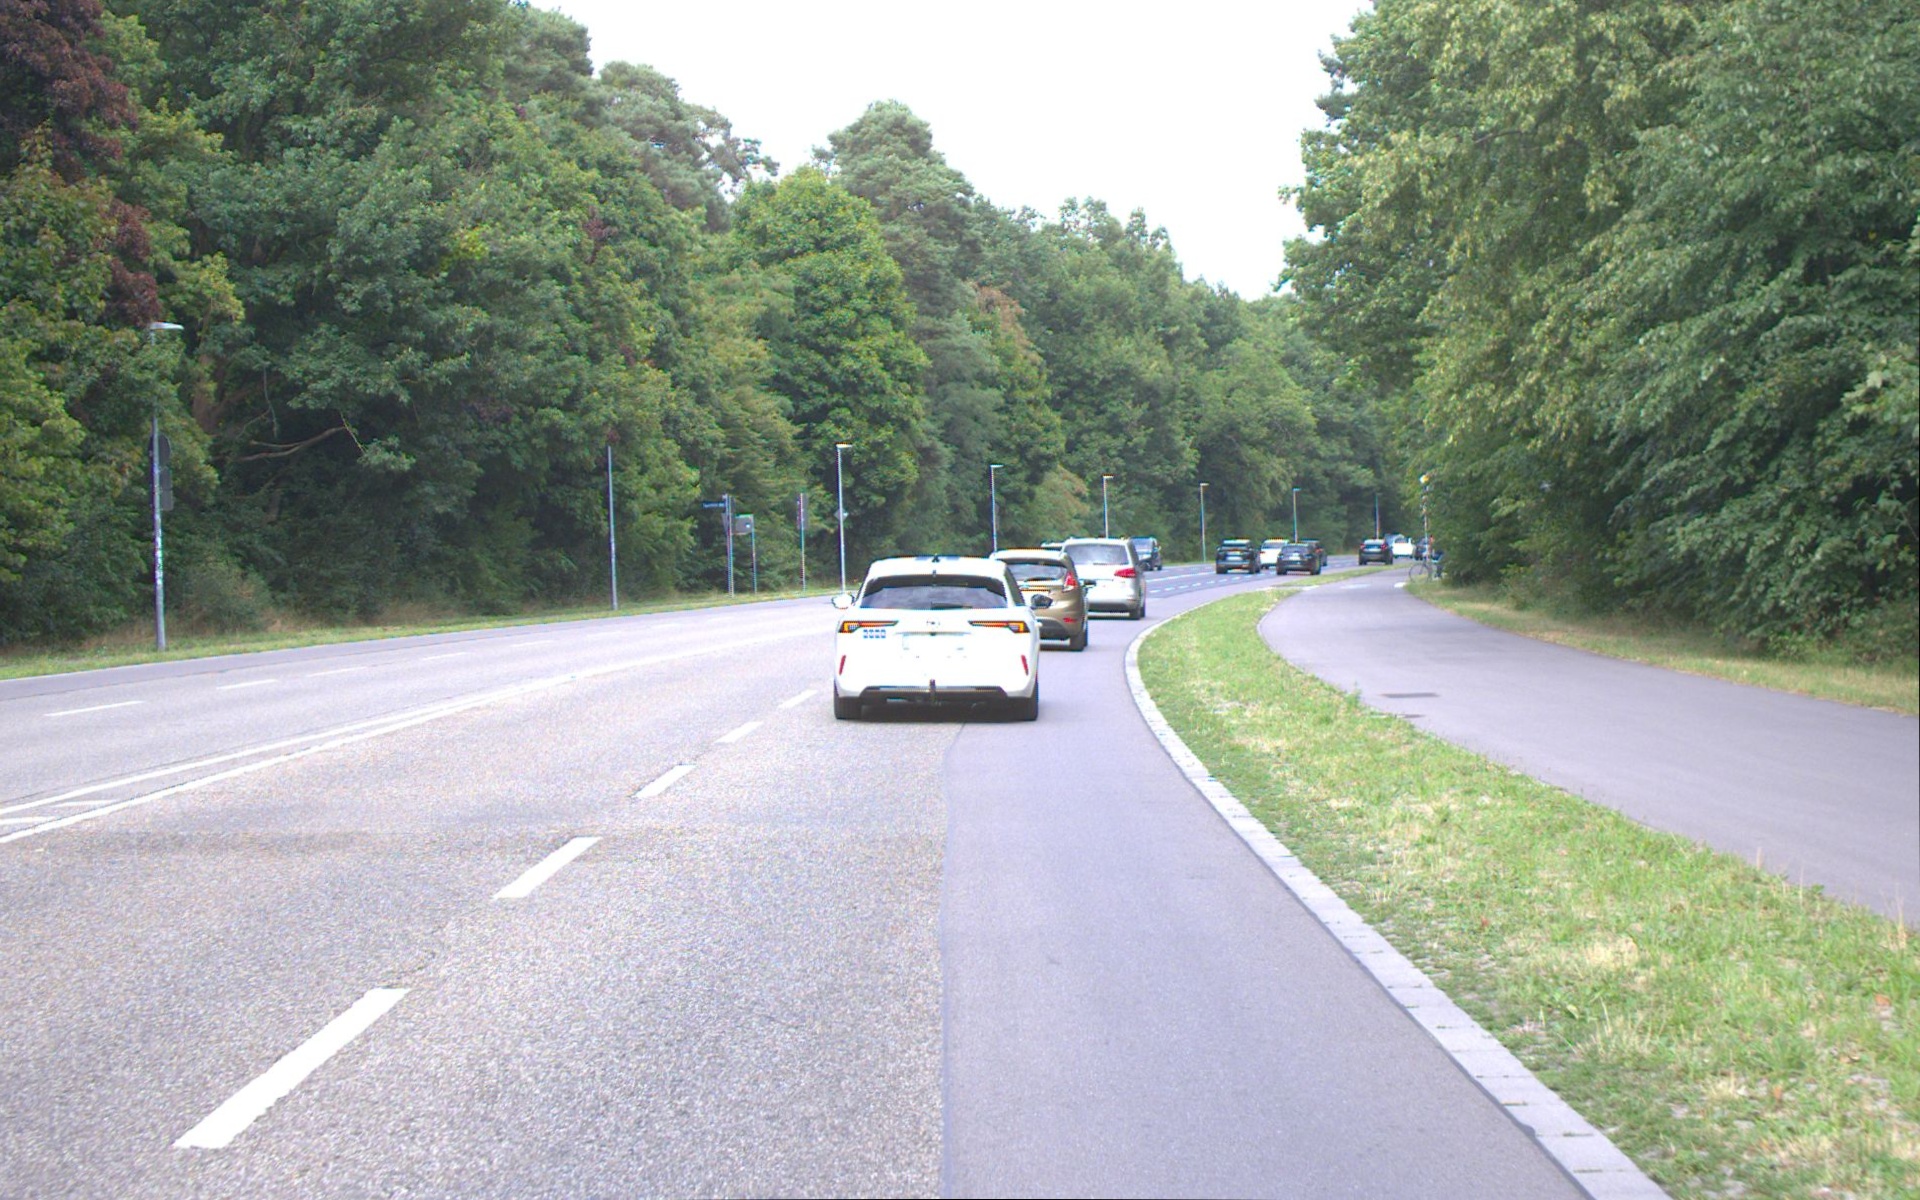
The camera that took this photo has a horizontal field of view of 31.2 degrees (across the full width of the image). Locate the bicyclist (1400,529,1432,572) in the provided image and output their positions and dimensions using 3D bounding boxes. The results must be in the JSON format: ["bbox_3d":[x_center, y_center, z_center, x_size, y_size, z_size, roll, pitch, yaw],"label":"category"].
[{"bbox_3d":[15.704,-1.697,118.391,0.900,1.465,0.710,0,1,30],"label":"bicyclist"}]

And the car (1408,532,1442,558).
[{"bbox_3d":[31.665,-3.756,234.091,1.994,1.700,3.998,0,1,12],"label":"car"}]

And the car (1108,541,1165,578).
[{"bbox_3d":[9.041,-2.046,175.880,1.995,1.785,4.744,2,0,14],"label":"car"}]

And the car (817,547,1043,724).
[{"bbox_3d":[-0.333,0.282,31.072,1.836,1.405,4.491,-3,0,-2],"label":"car"}]

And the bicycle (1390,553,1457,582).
[{"bbox_3d":[15.933,-1.105,118.284,2.178,0.991,0.710,0,1,30],"label":"bicycle"}]

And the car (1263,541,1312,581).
[{"bbox_3d":[15.314,-1.793,160.605,1.994,1.777,3.998,2,0,9],"label":"car"}]

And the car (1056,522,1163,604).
[{"bbox_3d":[3.161,-0.762,72.150,1.994,1.601,3.999,2,0,5],"label":"car"}]

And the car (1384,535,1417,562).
[{"bbox_3d":[31.536,-3.681,246.104,1.889,1.809,3.997,2,0,14],"label":"car"}]

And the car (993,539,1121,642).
[{"bbox_3d":[1.464,-0.140,50.421,1.635,1.415,3.999,2,0,4],"label":"car"}]

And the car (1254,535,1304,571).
[{"bbox_3d":[16.847,-2.488,181.358,1.995,1.777,3.997,2,0,14],"label":"car"}]

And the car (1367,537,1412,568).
[{"bbox_3d":[25.617,-2.820,205.025,1.995,1.777,3.997,2,0,17],"label":"car"}]

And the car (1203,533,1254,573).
[{"bbox_3d":[12.857,-2.238,164.305,1.994,1.777,3.998,2,0,10],"label":"car"}]
